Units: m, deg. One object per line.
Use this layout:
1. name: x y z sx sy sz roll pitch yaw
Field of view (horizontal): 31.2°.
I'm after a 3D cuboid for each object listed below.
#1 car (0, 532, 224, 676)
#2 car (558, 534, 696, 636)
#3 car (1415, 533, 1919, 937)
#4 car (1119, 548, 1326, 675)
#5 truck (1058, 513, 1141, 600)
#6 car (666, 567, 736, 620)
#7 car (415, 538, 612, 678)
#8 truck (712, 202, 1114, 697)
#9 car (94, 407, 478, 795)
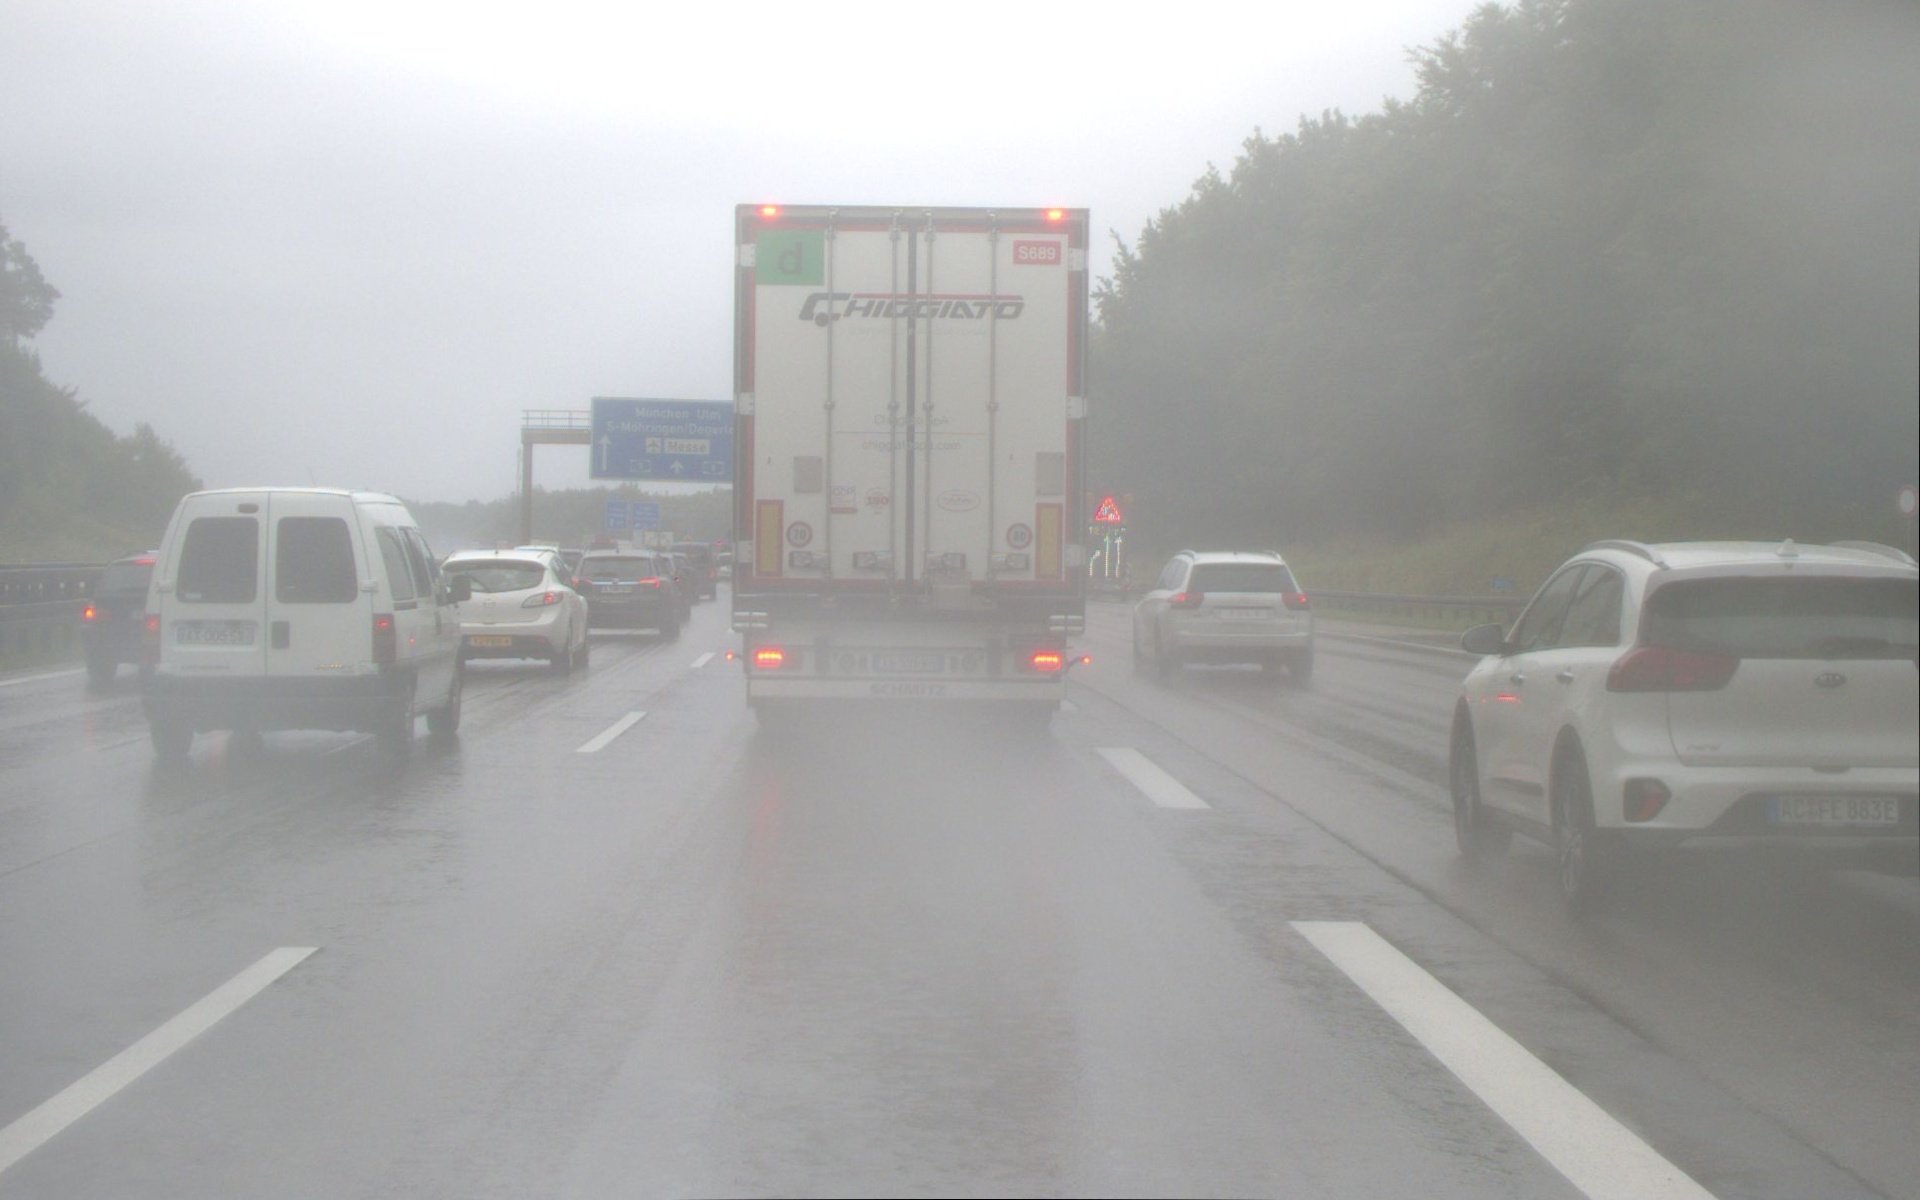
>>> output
1. car: -9.762 -0.002 38.860 2.090 1.499 4.755 -1 1 -3
2. car: -5.465 -0.286 56.862 1.845 1.586 4.467 1 1 0
3. car: 3.296 0.478 15.251 1.845 1.517 4.344 1 1 -2
4. car: 3.067 0.094 41.103 2.007 1.389 4.568 1 1 -1
5. truck: 4.840 -1.555 120.603 2.589 2.931 6.456 1 1 0
6. car: -7.081 -0.191 94.221 1.845 1.326 4.467 1 1 -4
7. car: -5.337 0.055 41.540 1.845 1.586 4.072 1 1 0
8. truck: -0.463 -1.137 30.578 2.872 3.550 11.303 1 0 -1
9. car: -4.849 -0.040 25.468 2.212 2.564 5.016 1 1 -5
